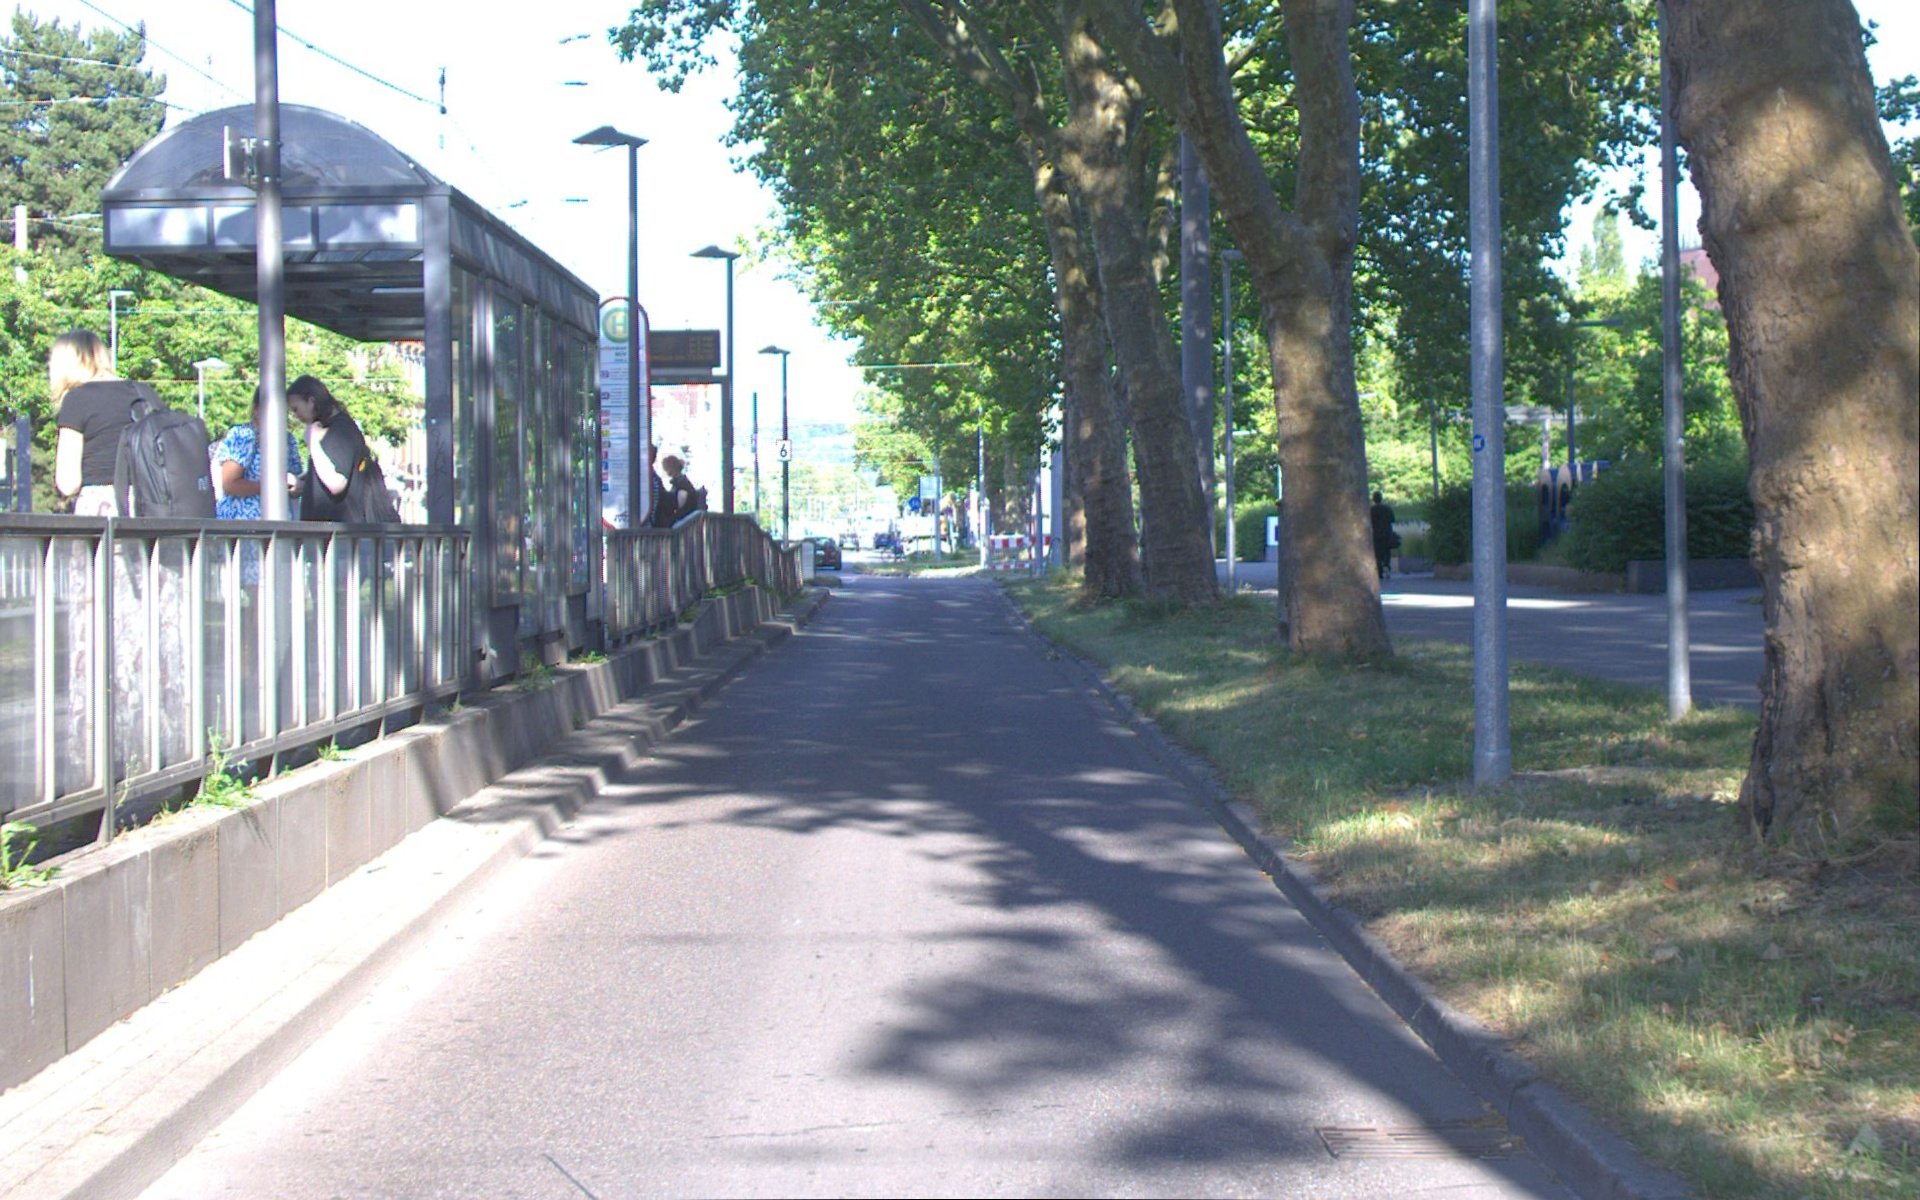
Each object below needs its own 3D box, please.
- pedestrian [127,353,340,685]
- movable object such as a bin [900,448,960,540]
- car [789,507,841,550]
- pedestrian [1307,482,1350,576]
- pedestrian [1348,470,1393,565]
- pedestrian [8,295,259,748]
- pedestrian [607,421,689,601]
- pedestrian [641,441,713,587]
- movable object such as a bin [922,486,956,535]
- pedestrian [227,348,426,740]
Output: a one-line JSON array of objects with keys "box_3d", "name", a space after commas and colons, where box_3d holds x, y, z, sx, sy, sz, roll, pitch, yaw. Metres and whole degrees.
[{"box_3d": [-3.862, -0.423, 18.281, 0.907, 1.716, 0.631, 1, 1, -34], "name": "pedestrian"}, {"box_3d": [-1.777, -6.111, 200.366, 3.087, 5.071, 8.893, -3, 1, -1], "name": "movable object such as a bin"}, {"box_3d": [-5.908, -2.911, 140.386, 1.993, 1.678, 4.000, 1, 1, -1], "name": "car"}, {"box_3d": [6.562, -1.270, 61.234, 0.627, 1.651, 0.740, -2, 1, -1], "name": "pedestrian"}, {"box_3d": [7.295, -1.468, 61.079, 0.650, 1.651, 0.783, -2, 1, -1], "name": "pedestrian"}, {"box_3d": [-2.952, -0.281, 12.348, 0.678, 1.556, 0.851, 1, 1, -1], "name": "pedestrian"}, {"box_3d": [-2.992, -0.852, 33.056, 0.679, 1.684, 0.894, 1, 1, 0], "name": "pedestrian"}, {"box_3d": [-3.319, -1.005, 40.326, 0.757, 1.684, 0.678, 1, 1, 0], "name": "pedestrian"}, {"box_3d": [-1.388, -5.764, 222.544, 1.968, 3.002, 4.797, -3, 1, -1], "name": "movable object such as a bin"}, {"box_3d": [-2.914, -0.259, 15.860, 0.765, 1.752, 0.695, 1, 1, -1], "name": "pedestrian"}]
